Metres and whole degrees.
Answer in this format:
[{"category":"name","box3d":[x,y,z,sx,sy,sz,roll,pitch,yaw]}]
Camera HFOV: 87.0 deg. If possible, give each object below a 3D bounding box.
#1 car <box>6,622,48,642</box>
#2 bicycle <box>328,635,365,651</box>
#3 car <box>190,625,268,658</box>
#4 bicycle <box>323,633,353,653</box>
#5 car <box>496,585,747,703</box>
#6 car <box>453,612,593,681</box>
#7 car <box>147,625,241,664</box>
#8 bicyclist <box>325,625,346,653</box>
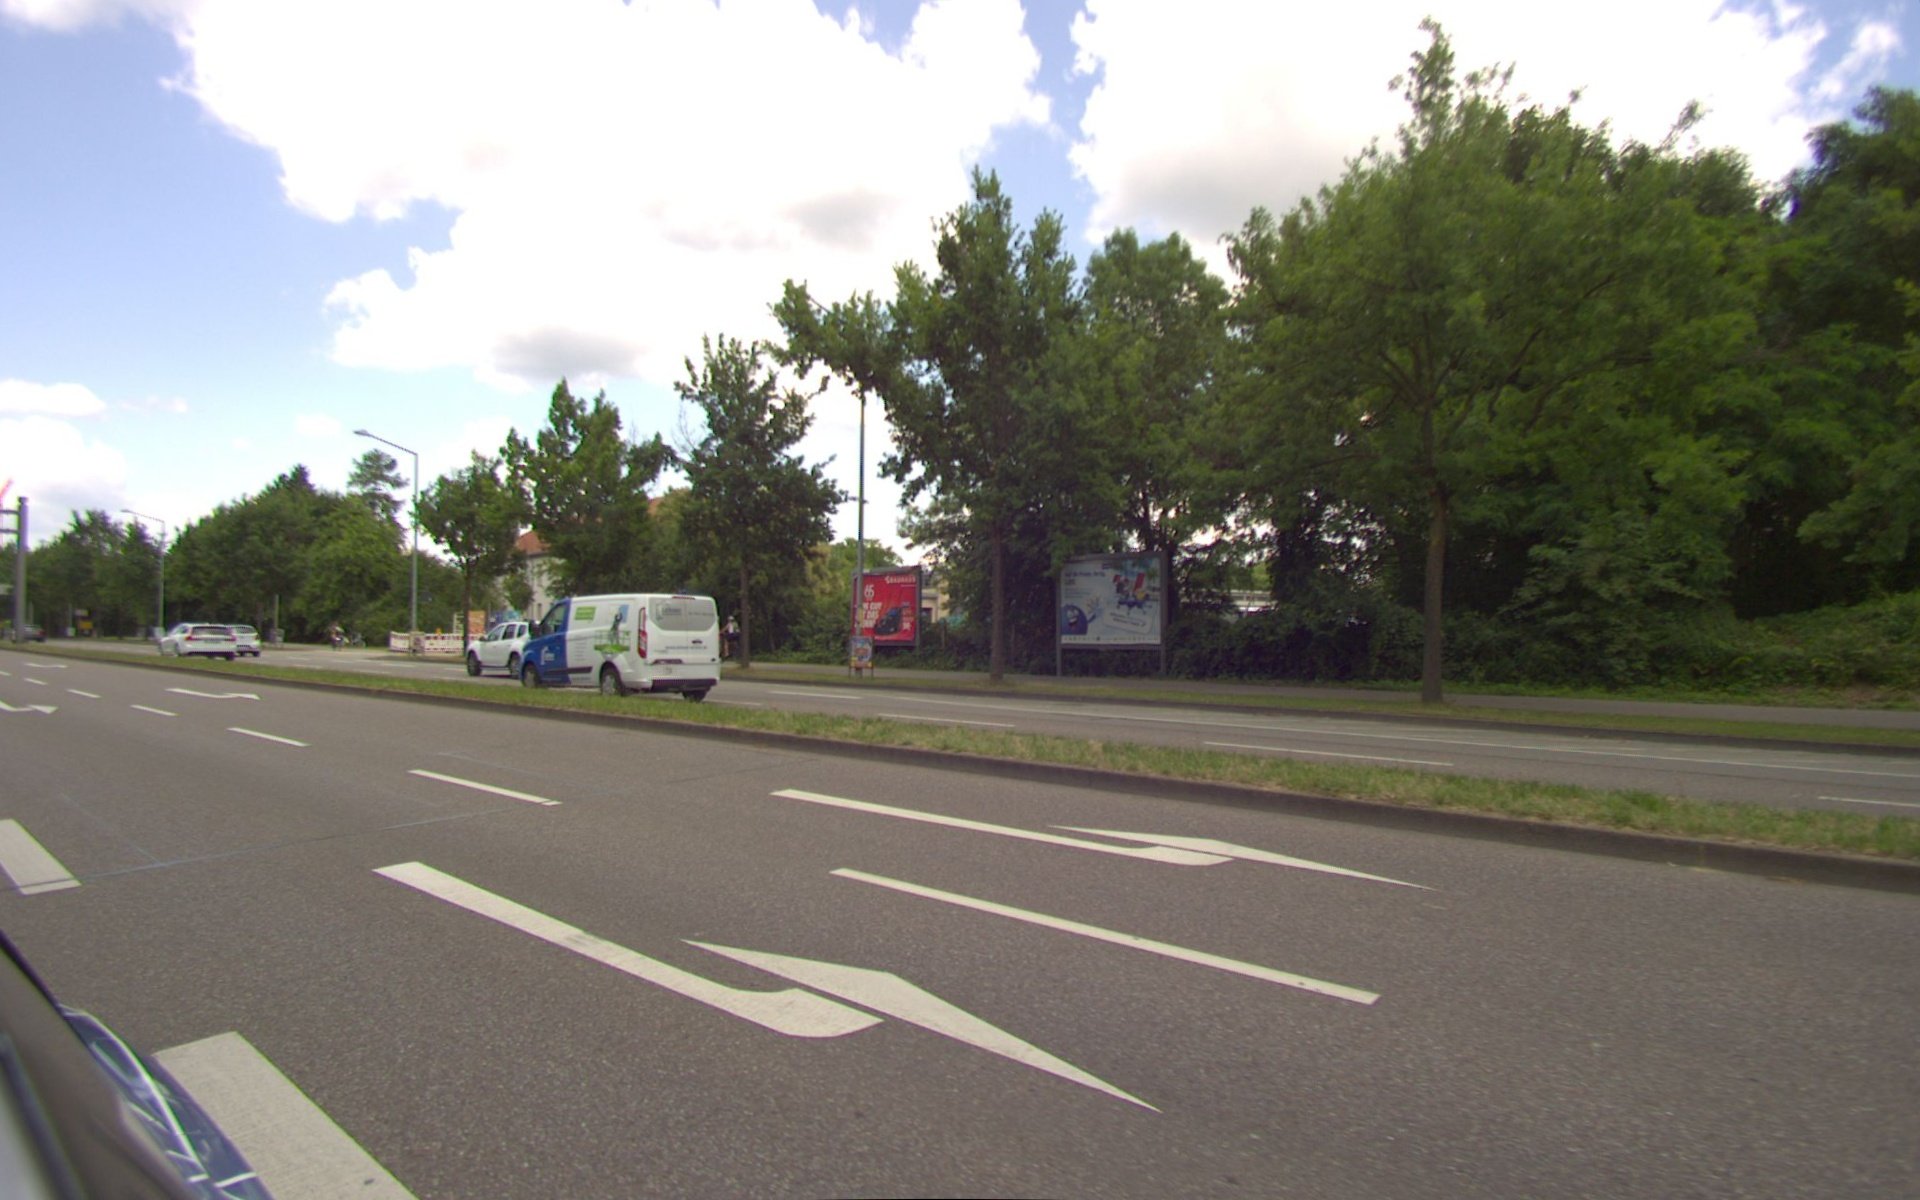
[{"category":"car","box3d":[-75.788,2.613,82.198,4.906,1.528,1.939,-2,-3,40]},{"category":"bicycle","box3d":[-41.912,2.931,69.143,2.117,1.023,0.665,1,-2,-4]},{"category":"car","box3d":[-34.807,1.976,48.161,4.411,1.454,1.895,-1,-4,40]},{"category":"bicycle","box3d":[-37.060,2.566,60.292,2.254,1.170,0.743,-1,-3,37]},{"category":"car","box3d":[-6.638,0.827,19.558,5.188,1.979,2.168,-2,-3,40]},{"category":"car","box3d":[-12.611,1.328,29.081,4.407,1.815,1.972,-2,-4,41]},{"category":"car","box3d":[-30.533,1.732,40.291,5.021,1.442,1.973,-1,-3,41]},{"category":"bicyclist","box3d":[-37.304,2.315,60.482,0.979,1.671,0.731,-2,-3,36]}]
